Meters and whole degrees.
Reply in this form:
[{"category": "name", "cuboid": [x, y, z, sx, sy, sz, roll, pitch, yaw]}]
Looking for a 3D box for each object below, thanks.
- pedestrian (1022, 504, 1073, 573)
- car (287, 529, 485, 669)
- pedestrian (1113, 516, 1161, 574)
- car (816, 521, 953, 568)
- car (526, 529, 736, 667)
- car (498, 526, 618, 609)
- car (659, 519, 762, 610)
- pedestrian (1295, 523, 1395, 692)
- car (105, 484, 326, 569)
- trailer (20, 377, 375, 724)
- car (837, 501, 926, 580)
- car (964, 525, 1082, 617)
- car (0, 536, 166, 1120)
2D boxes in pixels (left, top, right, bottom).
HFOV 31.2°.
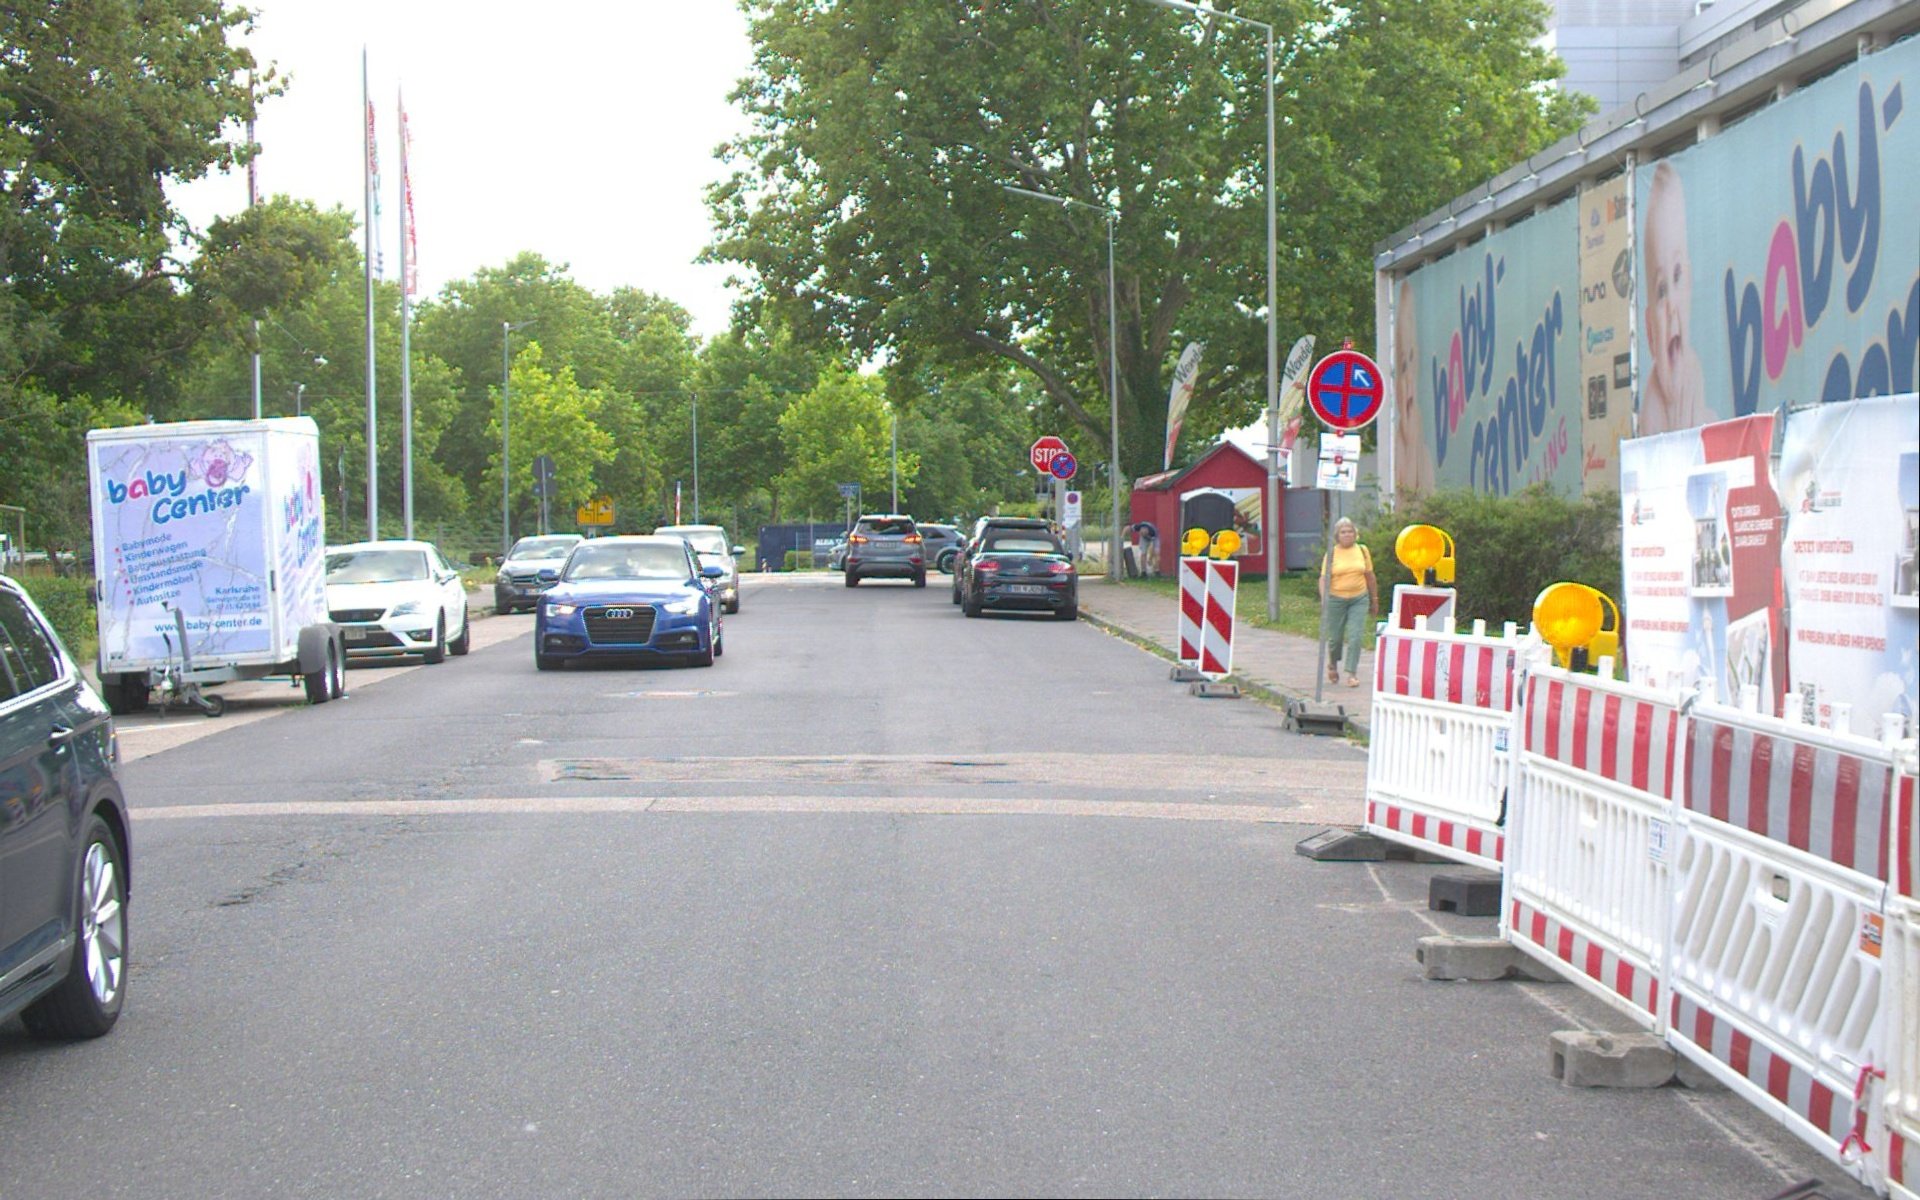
[{"category": "pedestrian", "cuboid": [2.352, -1.656, 92.373, 1.000, 1.843, 1.230, -1, 1, -19]}, {"category": "car", "cuboid": [-6.835, -0.058, 41.297, 1.765, 1.474, 4.236, -3, 2, -2]}, {"category": "pedestrian", "cuboid": [4.008, -1.239, 77.838, 1.014, 1.309, 0.964, 0, 1, 7]}, {"category": "car", "cuboid": [-2.398, -1.749, 107.904, 4.219, 1.401, 1.924, -1, 1, -3]}, {"category": "car", "cuboid": [-3.519, -0.070, 37.467, 1.923, 1.372, 4.380, -1, 2, -1]}, {"category": "car", "cuboid": [-7.639, -0.646, 65.703, 1.709, 1.415, 4.331, -3, 1, 0]}, {"category": "car", "cuboid": [-4.249, -0.632, 58.937, 1.590, 1.460, 3.762, -2, 2, -2]}, {"category": "pedestrian", "cuboid": [3.546, 0.059, 31.740, 0.681, 1.528, 1.130, 0, 1, -6]}, {"category": "car", "cuboid": [-23.162, -2.311, 107.161, 6.383, 2.569, 2.206, 0, 2, -1]}, {"category": "trailer", "cuboid": [-6.714, -0.468, 30.839, 2.139, 2.773, 4.704, -3, 1, -2]}, {"category": "car", "cuboid": [-1.887, -1.421, 81.469, 1.962, 1.809, 4.276, -1, 1, -3]}, {"category": "car", "cuboid": [0.991, -0.504, 56.647, 1.808, 1.386, 4.588, 2, 1, 0]}, {"category": "car", "cuboid": [-3.335, 0.617, 8.474, 1.796, 1.454, 4.385, -2, 2, -1]}]
